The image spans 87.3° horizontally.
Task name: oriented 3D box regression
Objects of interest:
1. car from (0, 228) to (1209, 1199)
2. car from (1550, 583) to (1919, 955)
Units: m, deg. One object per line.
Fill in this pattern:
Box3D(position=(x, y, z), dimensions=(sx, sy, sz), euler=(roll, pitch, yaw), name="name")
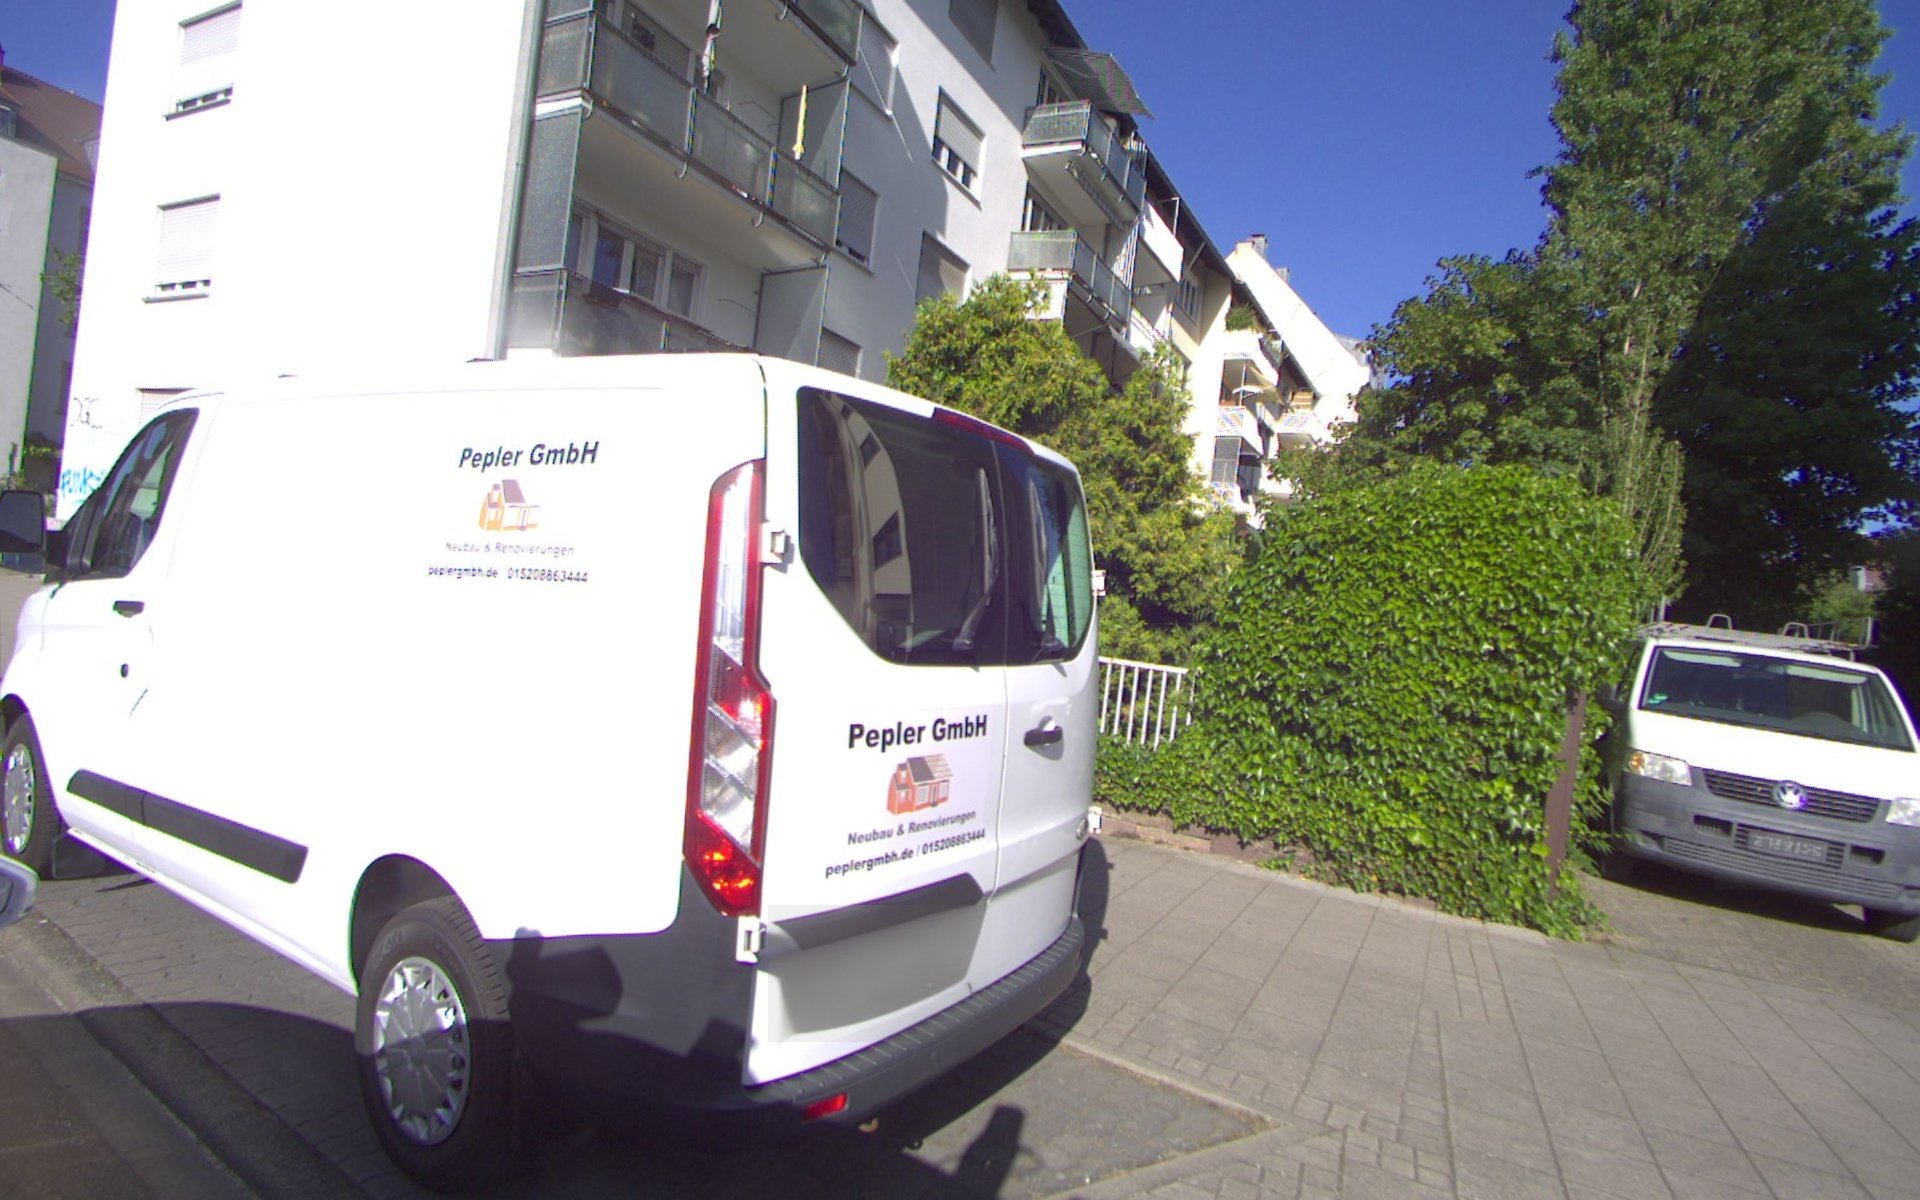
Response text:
Box3D(position=(-1.771, 0.214, 3.798), dimensions=(4.718, 2.040, 1.993), euler=(7, 2, 33), name="car")
Box3D(position=(6.480, 1.236, 8.647), dimensions=(1.823, 2.116, 5.020), euler=(7, -1, 26), name="car")
